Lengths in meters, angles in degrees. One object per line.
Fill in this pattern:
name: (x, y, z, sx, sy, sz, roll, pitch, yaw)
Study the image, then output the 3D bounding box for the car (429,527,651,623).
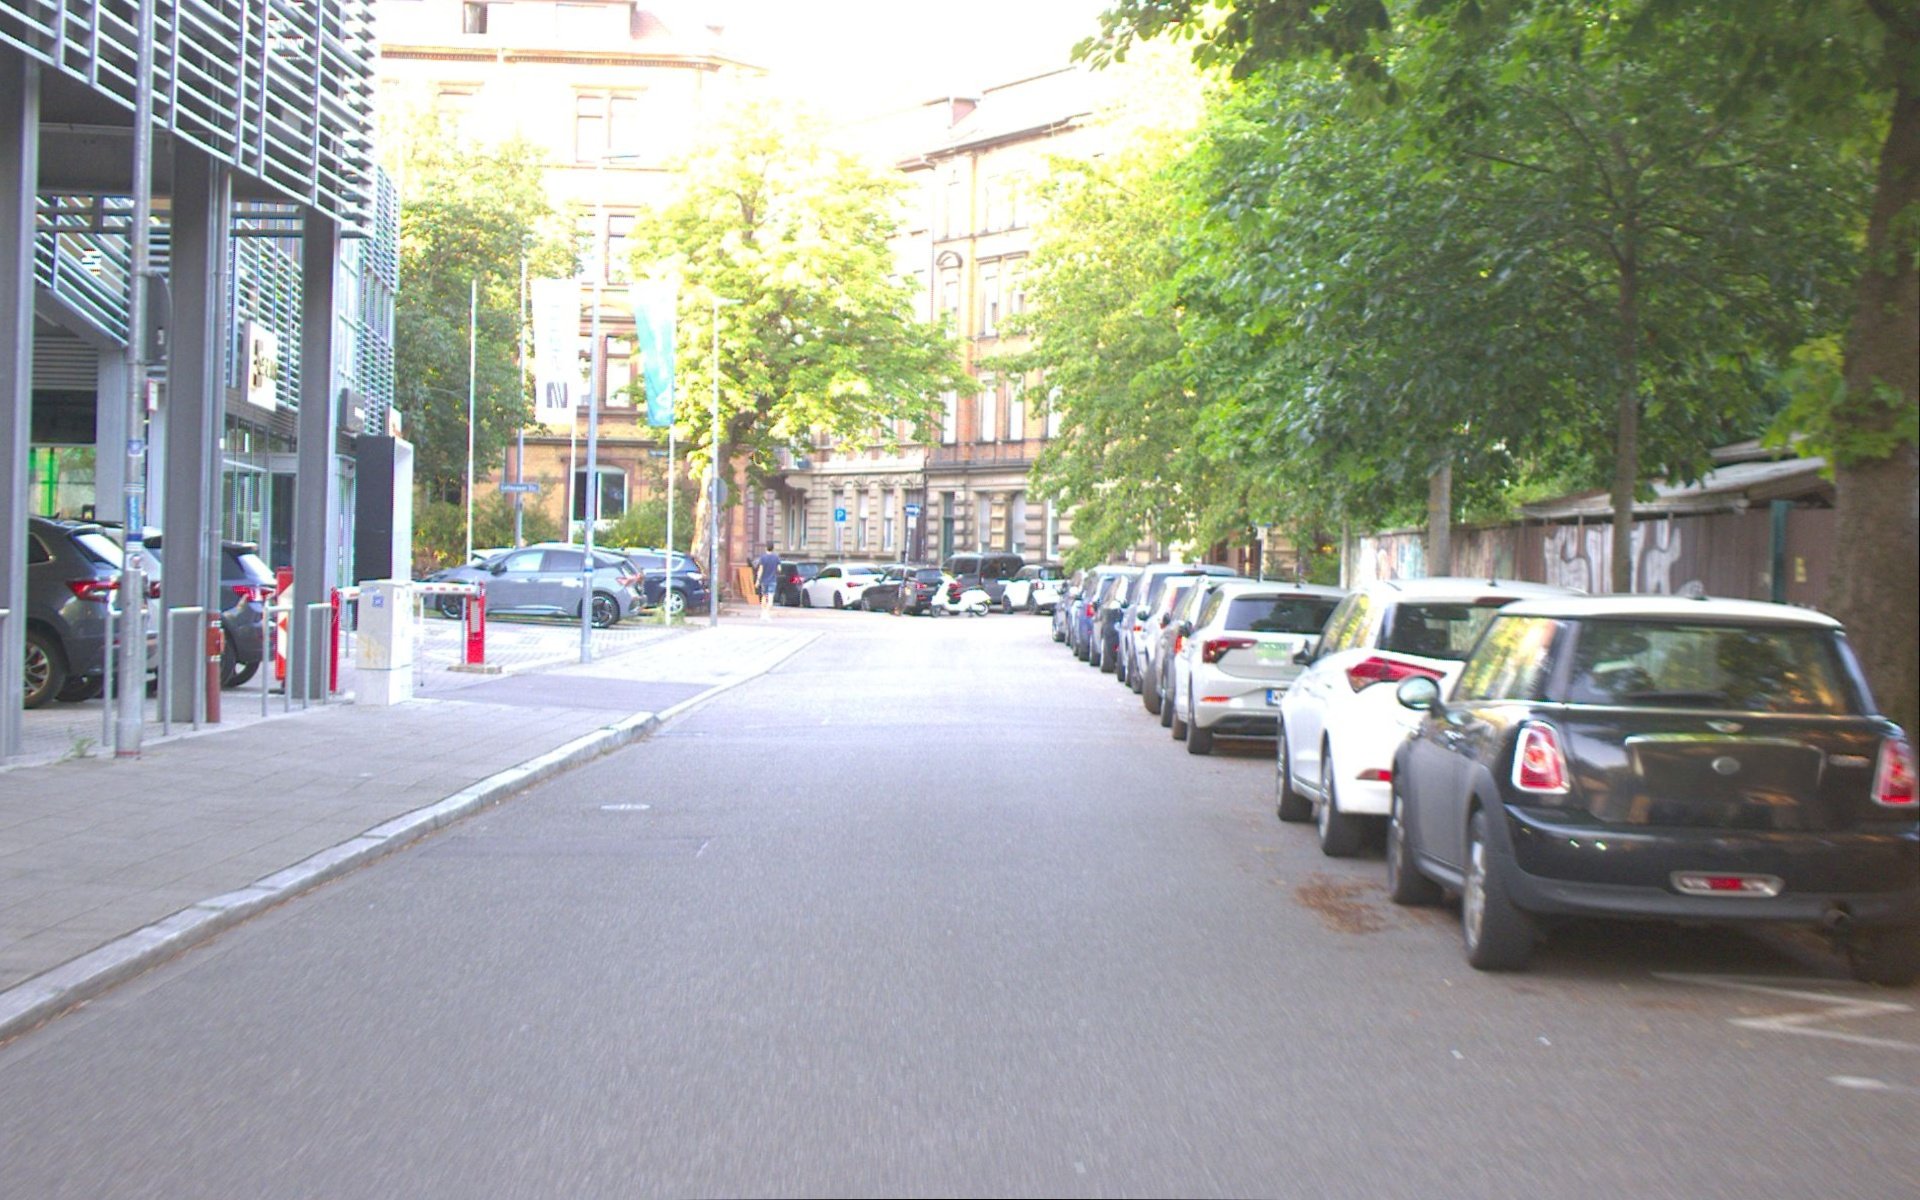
car: (-8.259, -0.504, 67.877, 4.129, 1.612, 1.913, 3, 2, -2)

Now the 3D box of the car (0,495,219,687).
car: (-9.090, -0.133, 31.678, 4.080, 1.678, 1.860, 1, 2, 1)

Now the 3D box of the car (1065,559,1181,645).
car: (2.906, 0.020, 62.039, 1.695, 1.472, 3.560, 1, 1, -3)

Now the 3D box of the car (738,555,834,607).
car: (-5.434, -0.596, 107.002, 1.654, 1.426, 3.897, 1, 2, -24)

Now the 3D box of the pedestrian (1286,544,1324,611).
pedestrian: (9.555, -0.627, 95.292, 0.773, 1.798, 0.843, 1, 2, -15)

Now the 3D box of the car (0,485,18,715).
car: (-9.029, -0.031, 24.539, 4.064, 1.678, 1.860, 1, 2, 1)

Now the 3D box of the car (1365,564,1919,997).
car: (2.653, 0.625, 13.941, 1.563, 1.445, 3.454, 1, 2, 0)

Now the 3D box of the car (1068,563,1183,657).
car: (2.729, 0.141, 57.396, 1.695, 1.472, 4.117, 1, 1, 0)

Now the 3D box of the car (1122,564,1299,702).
car: (2.900, 0.349, 40.490, 1.759, 1.436, 3.874, 1, 2, 0)

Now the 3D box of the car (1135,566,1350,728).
car: (2.769, 0.418, 34.554, 1.759, 1.449, 4.392, 1, 1, 0)

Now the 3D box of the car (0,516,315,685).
car: (-8.608, 0.003, 34.302, 3.986, 1.580, 1.860, 1, -1, -2)

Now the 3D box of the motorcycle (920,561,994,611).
motorcycle: (-0.077, -0.395, 94.778, 1.931, 1.336, 0.577, 1, 1, -10)

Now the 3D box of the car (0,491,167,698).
car: (-9.024, -0.104, 29.249, 4.087, 1.678, 1.860, 1, 2, 1)

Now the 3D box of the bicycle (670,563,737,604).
bicycle: (-6.670, -0.426, 89.403, 1.671, 1.025, 0.446, 1, 2, -24)

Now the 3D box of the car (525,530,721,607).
car: (-8.499, -0.808, 86.782, 4.828, 1.726, 1.921, 2, 2, -6)

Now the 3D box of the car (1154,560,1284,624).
car: (7.108, -0.240, 94.686, 1.914, 1.520, 3.897, 1, 2, -24)

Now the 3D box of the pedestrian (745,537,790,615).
pedestrian: (-4.575, -0.573, 81.533, 0.735, 1.798, 1.122, 1, 2, -20)

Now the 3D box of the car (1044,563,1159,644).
car: (2.700, 0.039, 66.449, 1.695, 1.472, 4.213, 1, 1, -5)

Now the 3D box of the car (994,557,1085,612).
car: (2.366, -0.477, 103.037, 1.674, 1.520, 2.768, 2, 1, -24)

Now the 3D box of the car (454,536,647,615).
car: (-8.939, -0.554, 75.308, 4.045, 1.470, 1.921, 3, 2, -4)

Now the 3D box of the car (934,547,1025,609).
car: (0.578, -0.692, 106.601, 1.674, 1.776, 3.016, 1, 1, -24)

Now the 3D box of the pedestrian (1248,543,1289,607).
pedestrian: (8.750, -0.709, 97.522, 0.840, 1.798, 0.776, 1, 2, -20)

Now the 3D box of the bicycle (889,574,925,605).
bicycle: (-1.434, -0.285, 92.676, 0.425, 0.819, 1.460, 2, 2, 22)

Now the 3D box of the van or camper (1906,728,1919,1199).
van or camper: (2.778, 0.468, 3.557, 2.064, 2.088, 5.091, 1, 2, -1)

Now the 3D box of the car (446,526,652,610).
car: (-8.493, -0.673, 71.257, 4.066, 1.612, 1.765, 1, 2, -2)

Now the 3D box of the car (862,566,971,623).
car: (-1.267, -0.160, 98.142, 1.654, 1.426, 3.991, 1, 2, -24)

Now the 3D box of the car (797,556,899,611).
car: (-3.361, -0.501, 102.562, 1.654, 1.426, 4.168, 1, 2, -22)

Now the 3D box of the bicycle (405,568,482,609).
bicycle: (-13.063, -0.288, 86.881, 1.854, 1.025, 0.446, 1, 2, -24)

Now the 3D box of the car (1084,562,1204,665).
car: (2.786, 0.179, 52.686, 1.596, 1.472, 3.774, 1, 1, 0)

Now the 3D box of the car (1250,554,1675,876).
car: (2.682, 0.549, 19.208, 1.722, 1.514, 4.026, 1, 2, 0)

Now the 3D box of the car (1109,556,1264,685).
car: (2.953, 0.242, 45.552, 1.759, 1.598, 3.874, 1, 1, 0)

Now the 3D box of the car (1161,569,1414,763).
car: (2.736, 0.513, 29.525, 1.759, 1.437, 4.006, 1, 2, 0)

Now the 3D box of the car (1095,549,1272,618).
car: (5.112, -0.369, 78.266, 1.880, 1.461, 3.961, 3, 2, 44)
